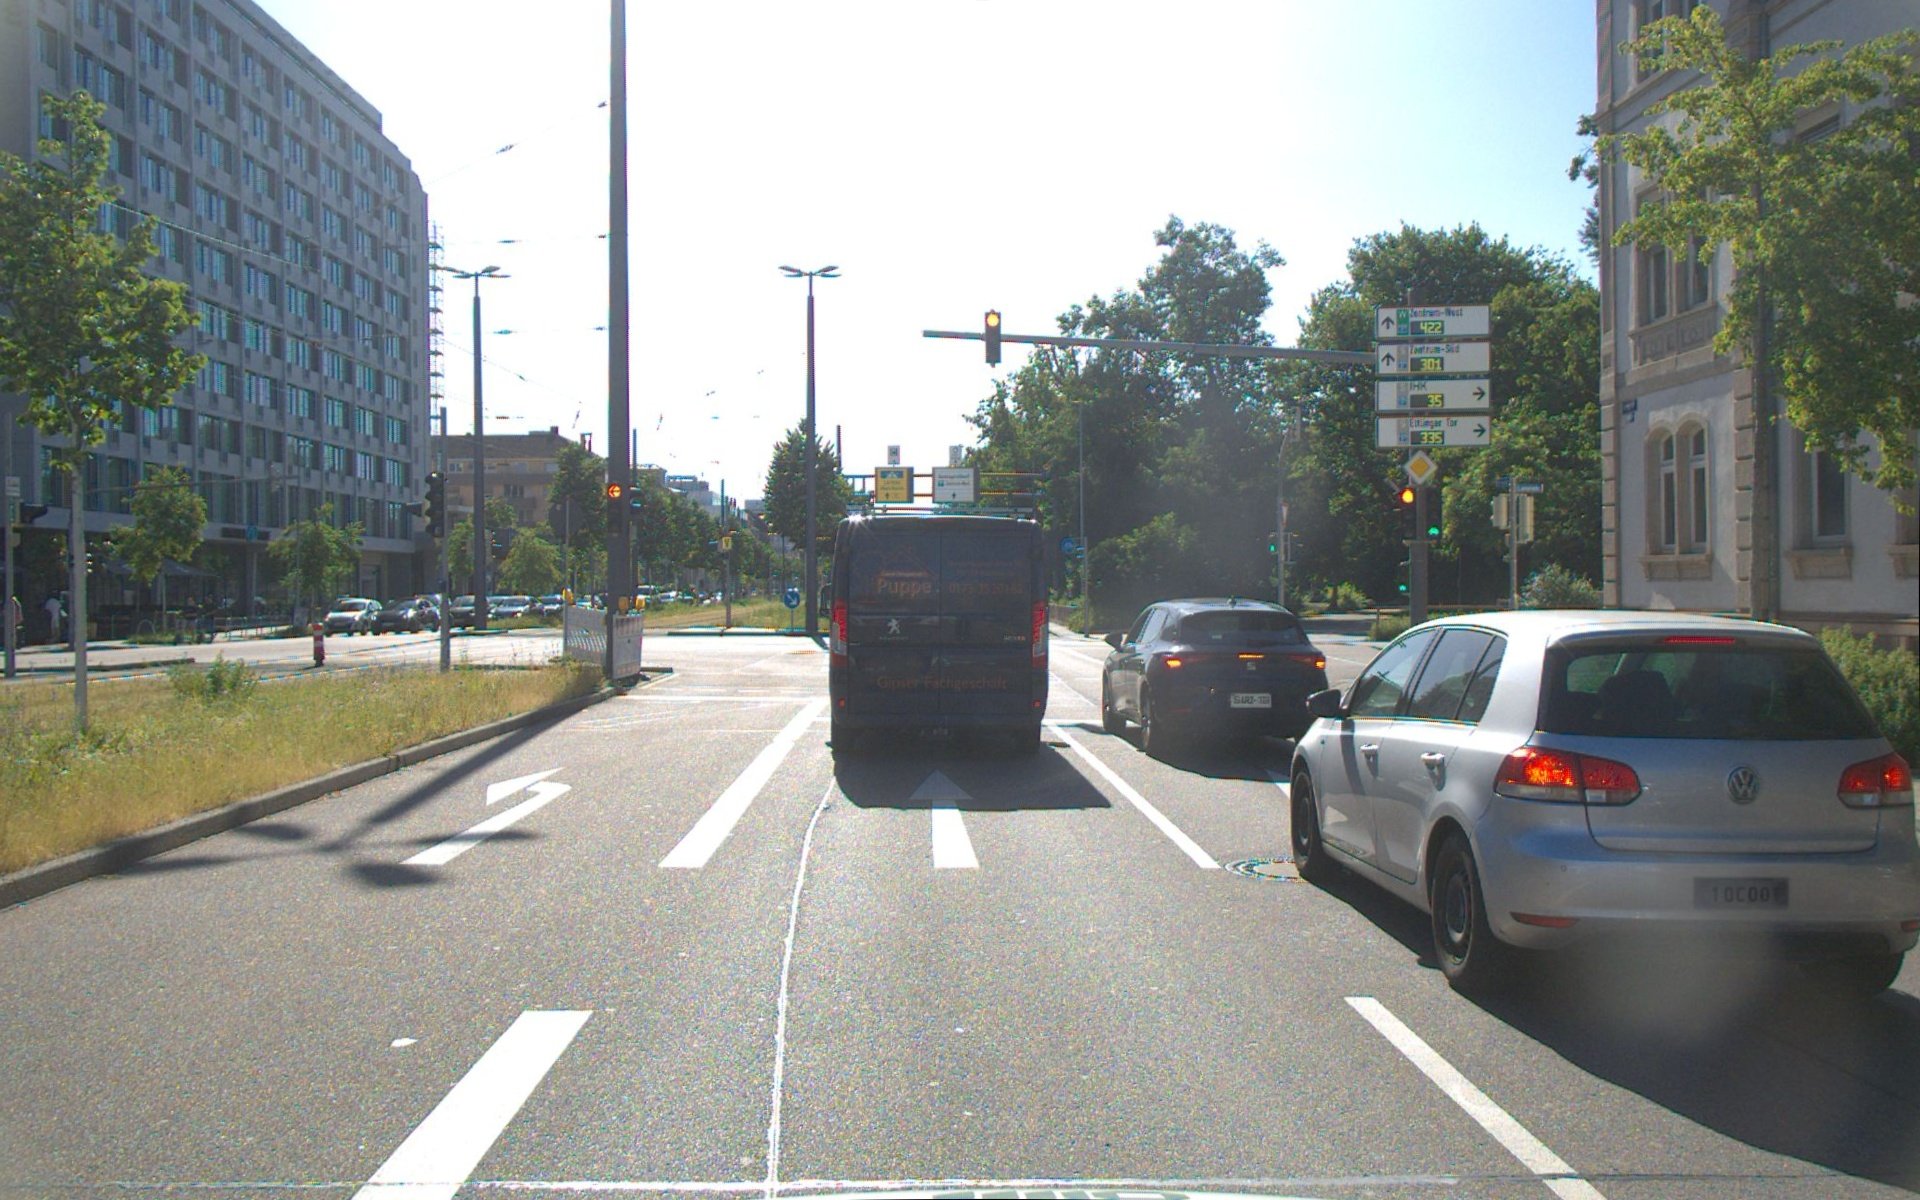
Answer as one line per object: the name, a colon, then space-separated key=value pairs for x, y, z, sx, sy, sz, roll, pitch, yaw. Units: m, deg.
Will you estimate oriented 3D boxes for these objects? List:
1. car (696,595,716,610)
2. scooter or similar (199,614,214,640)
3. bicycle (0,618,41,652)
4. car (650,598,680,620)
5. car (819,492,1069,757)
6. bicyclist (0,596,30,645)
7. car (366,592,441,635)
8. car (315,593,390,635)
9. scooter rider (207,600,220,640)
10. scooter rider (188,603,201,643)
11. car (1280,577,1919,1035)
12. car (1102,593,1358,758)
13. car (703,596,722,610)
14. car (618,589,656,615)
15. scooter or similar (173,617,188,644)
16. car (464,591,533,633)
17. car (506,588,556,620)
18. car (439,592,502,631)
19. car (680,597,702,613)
car: x=-30.469 y=0.319 z=198.553 sx=1.754 sy=1.680 sz=3.999 roll=-1 pitch=0 yaw=-1
scooter or similar: x=-28.265 y=1.006 z=62.046 sx=0.224 sy=0.964 sz=0.767 roll=-1 pitch=0 yaw=-1
bicycle: x=-31.556 y=1.166 z=55.357 sx=0.574 sy=1.119 sz=1.623 roll=1 pitch=0 yaw=2
car: x=-24.051 y=0.711 z=134.994 sx=1.754 sy=1.680 sz=3.999 roll=-1 pitch=0 yaw=-1
car: x=-0.237 y=0.187 z=16.869 sx=2.173 sy=2.307 sz=4.482 roll=1 pitch=1 yaw=-3
bicyclist: x=-31.659 y=0.667 z=55.299 sx=0.581 sy=1.608 sz=0.893 roll=1 pitch=0 yaw=2
car: x=-22.791 y=0.517 z=67.825 sx=1.754 sy=1.680 sz=3.999 roll=-1 pitch=0 yaw=-1
car: x=-25.660 y=0.561 z=69.969 sx=1.754 sy=1.680 sz=3.999 roll=-1 pitch=0 yaw=-1
scooter rider: x=-28.047 y=0.756 z=62.139 sx=0.335 sy=1.478 sz=0.239 roll=-1 pitch=0 yaw=-1
scooter rider: x=-28.858 y=0.874 z=62.355 sx=0.335 sy=1.478 sz=0.239 roll=-1 pitch=0 yaw=-1
car: x=2.759 y=0.689 z=7.654 sx=1.714 sy=1.554 sz=4.004 roll=1 pitch=1 yaw=-1
car: x=2.576 y=0.674 z=16.675 sx=1.756 sy=1.453 sz=3.847 roll=1 pitch=0 yaw=-3
car: x=-31.191 y=0.340 z=208.401 sx=1.754 sy=1.680 sz=3.999 roll=-1 pitch=0 yaw=-1
car: x=-21.254 y=0.133 z=108.811 sx=1.754 sy=1.680 sz=3.999 roll=-1 pitch=0 yaw=-1
scooter or similar: x=-29.217 y=1.141 z=62.003 sx=0.280 sy=0.964 sz=0.766 roll=-1 pitch=0 yaw=-9
car: x=-19.566 y=0.489 z=70.262 sx=1.754 sy=1.680 sz=4.334 roll=-1 pitch=0 yaw=-1
car: x=-23.484 y=0.194 z=90.699 sx=1.754 sy=1.680 sz=3.999 roll=-1 pitch=0 yaw=-1
car: x=-22.472 y=0.508 z=76.089 sx=1.754 sy=1.680 sz=3.999 roll=-1 pitch=0 yaw=-1
car: x=-29.479 y=0.505 z=181.494 sx=1.754 sy=1.680 sz=3.999 roll=-1 pitch=1 yaw=-1
